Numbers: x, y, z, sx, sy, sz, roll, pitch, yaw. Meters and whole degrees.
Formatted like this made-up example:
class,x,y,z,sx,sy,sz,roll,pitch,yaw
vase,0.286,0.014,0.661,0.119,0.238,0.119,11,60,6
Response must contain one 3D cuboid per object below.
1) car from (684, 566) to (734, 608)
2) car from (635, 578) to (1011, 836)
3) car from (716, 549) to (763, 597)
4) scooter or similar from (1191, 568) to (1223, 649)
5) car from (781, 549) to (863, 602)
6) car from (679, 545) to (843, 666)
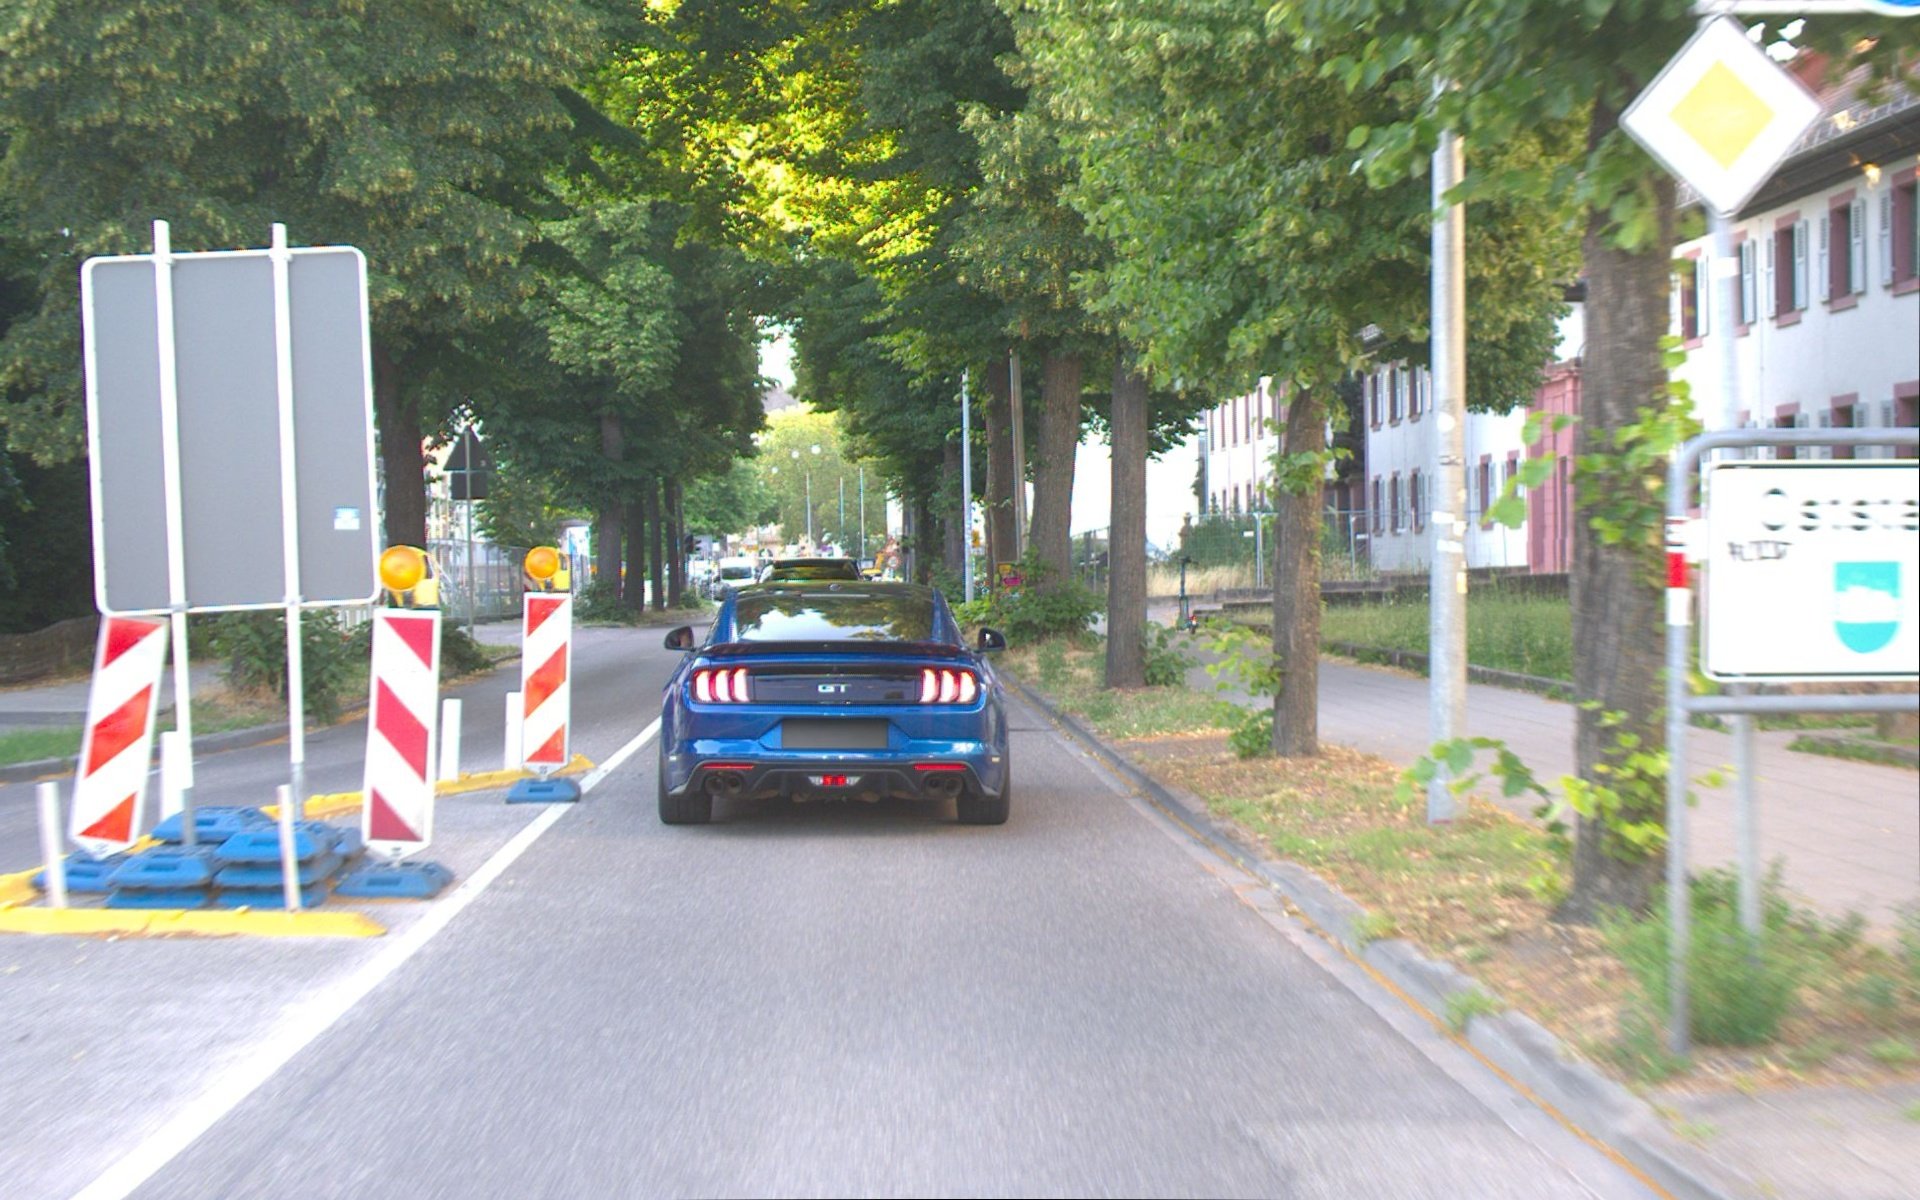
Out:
class,x,y,z,sx,sy,sz,roll,pitch,yaw
car,-13.631,-0.728,186.752,2.336,2.190,5.309,-1,0,0
car,-0.788,0.545,19.898,1.947,1.322,4.000,1,0,-2
car,-12.713,-1.559,198.411,2.492,2.688,5.831,-1,0,-3
scooter or similar,3.948,0.140,55.025,0.239,1.272,1.267,-1,0,-7
car,-3.520,-0.635,88.500,1.947,1.322,4.000,1,0,0
car,-2.604,0.057,45.844,1.947,1.522,4.000,1,0,0
